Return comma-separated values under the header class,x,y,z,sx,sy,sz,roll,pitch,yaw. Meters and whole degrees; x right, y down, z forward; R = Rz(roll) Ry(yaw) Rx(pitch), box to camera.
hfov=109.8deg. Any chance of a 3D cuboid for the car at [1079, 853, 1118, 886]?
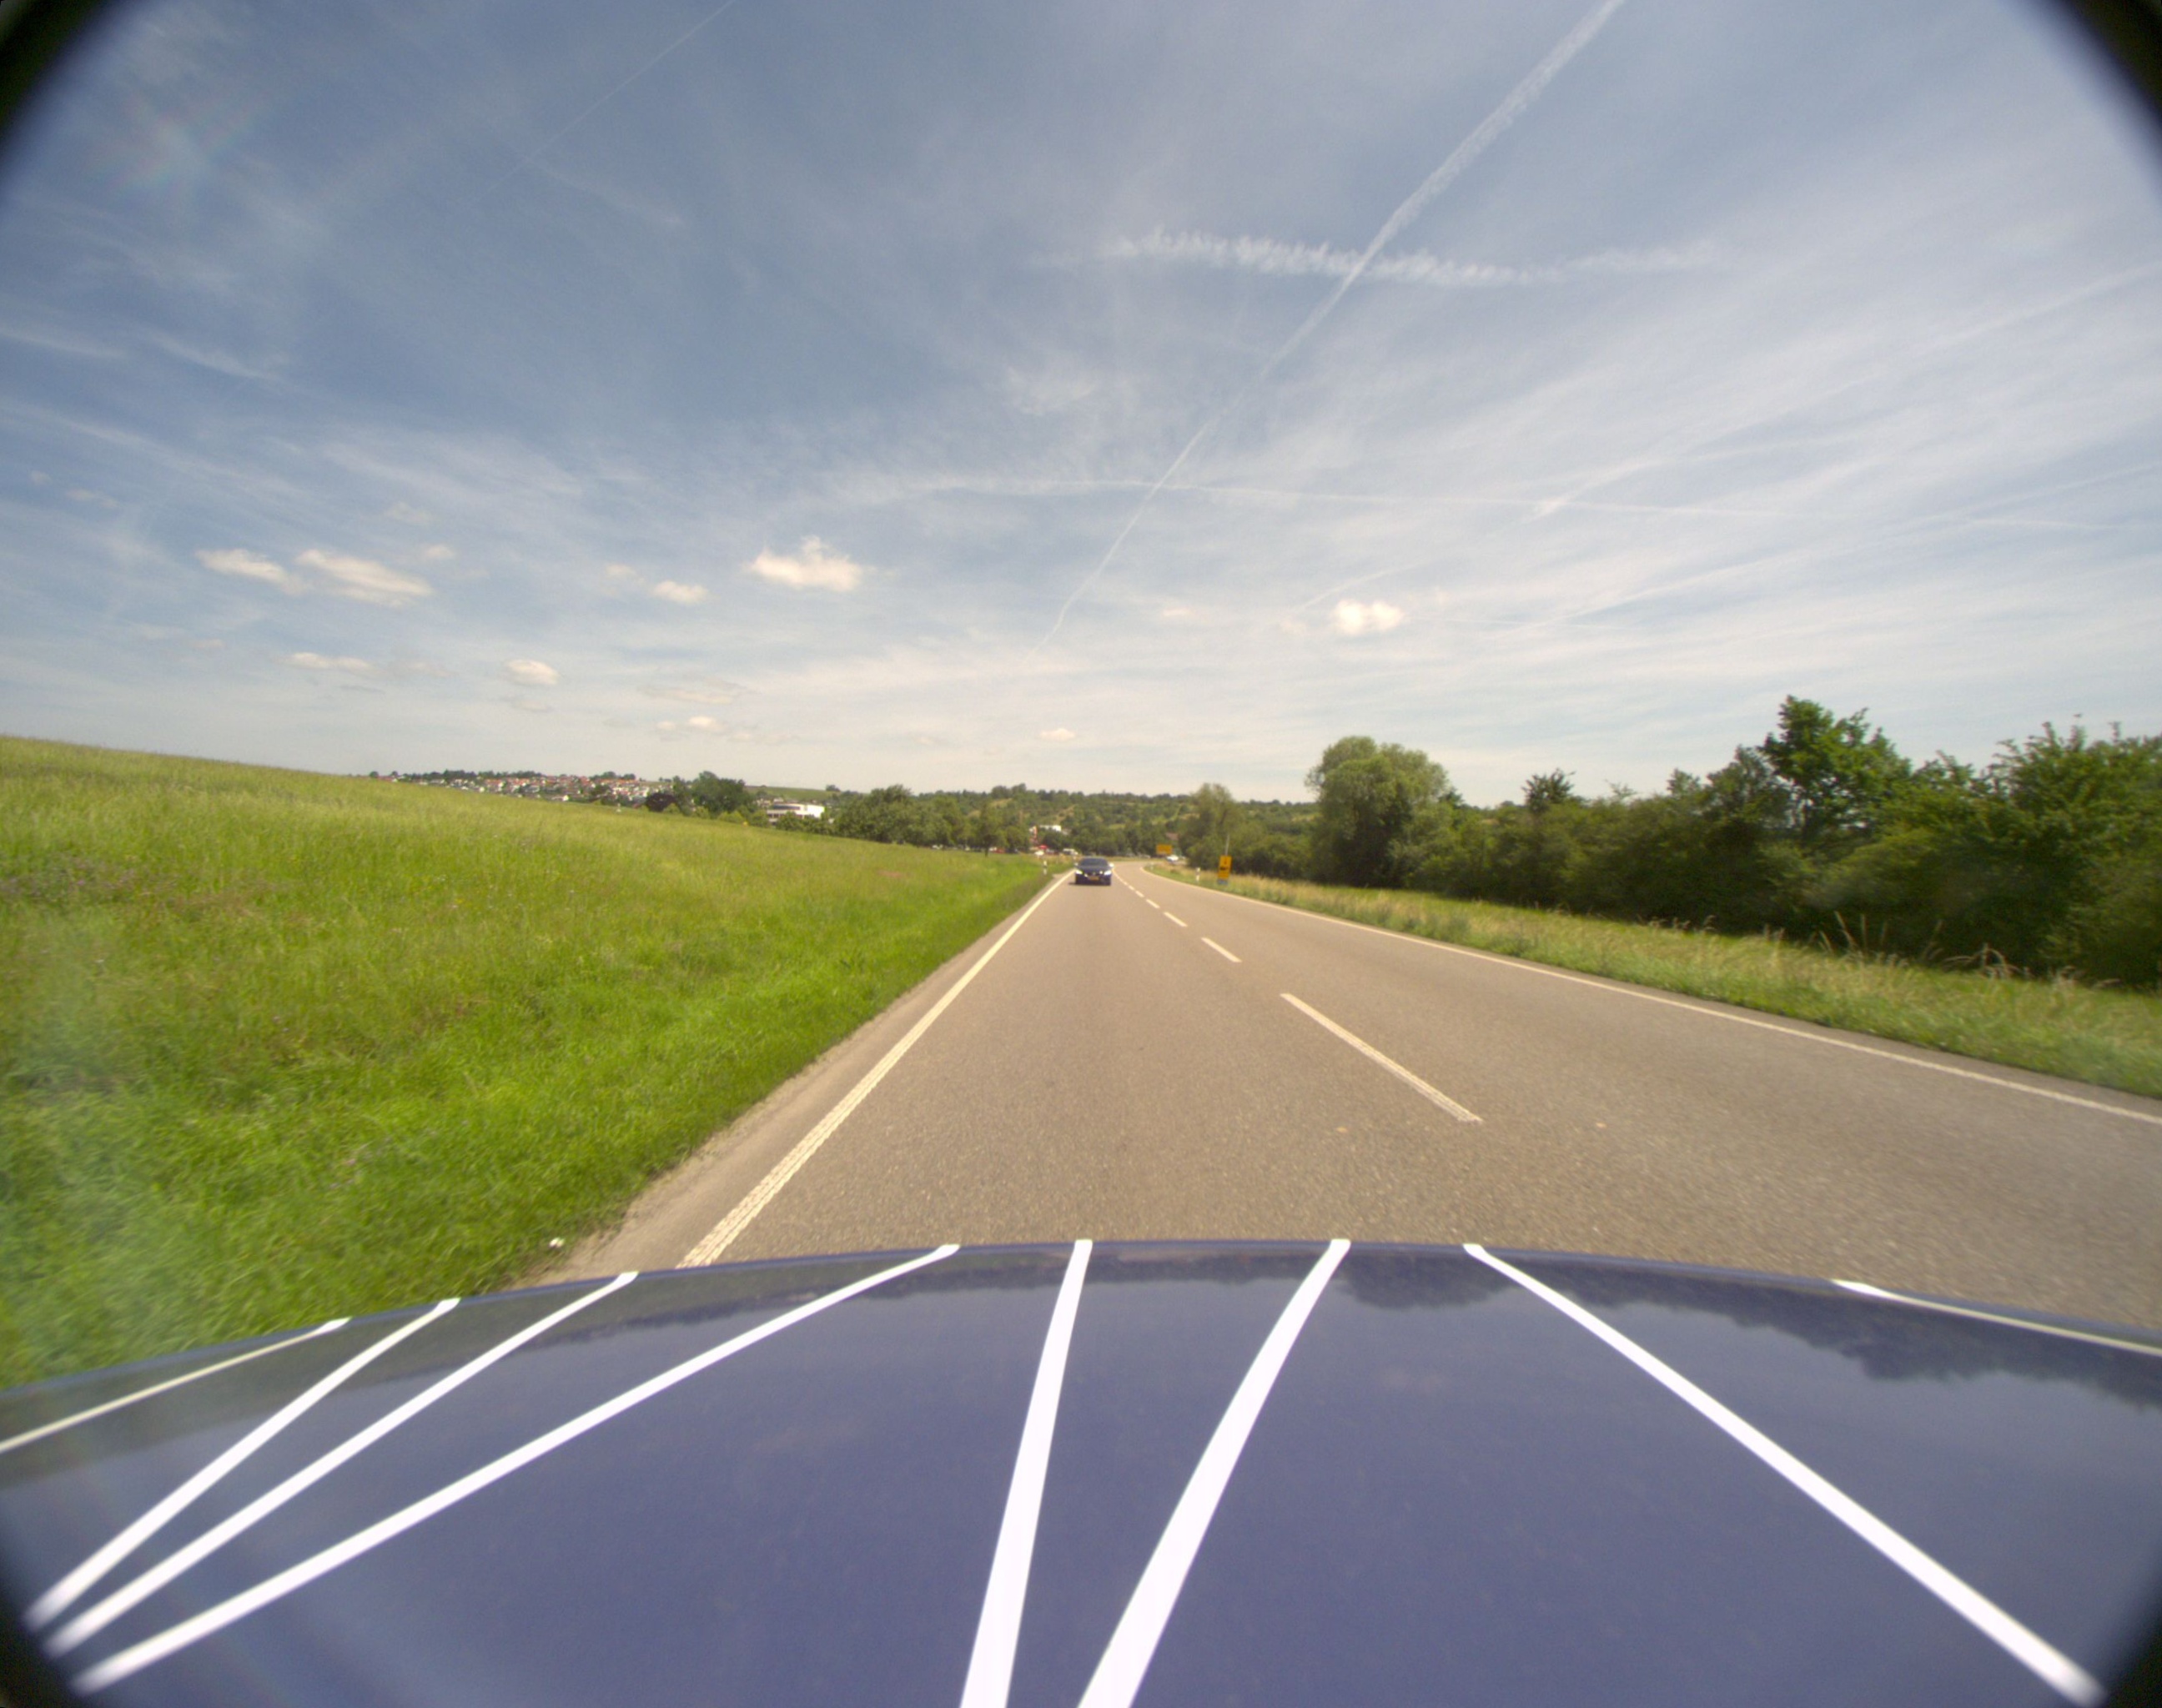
class,x,y,z,sx,sy,sz,roll,pitch,yaw
car,0.820,0.730,37.571,1.785,1.440,4.604,1,1,0
